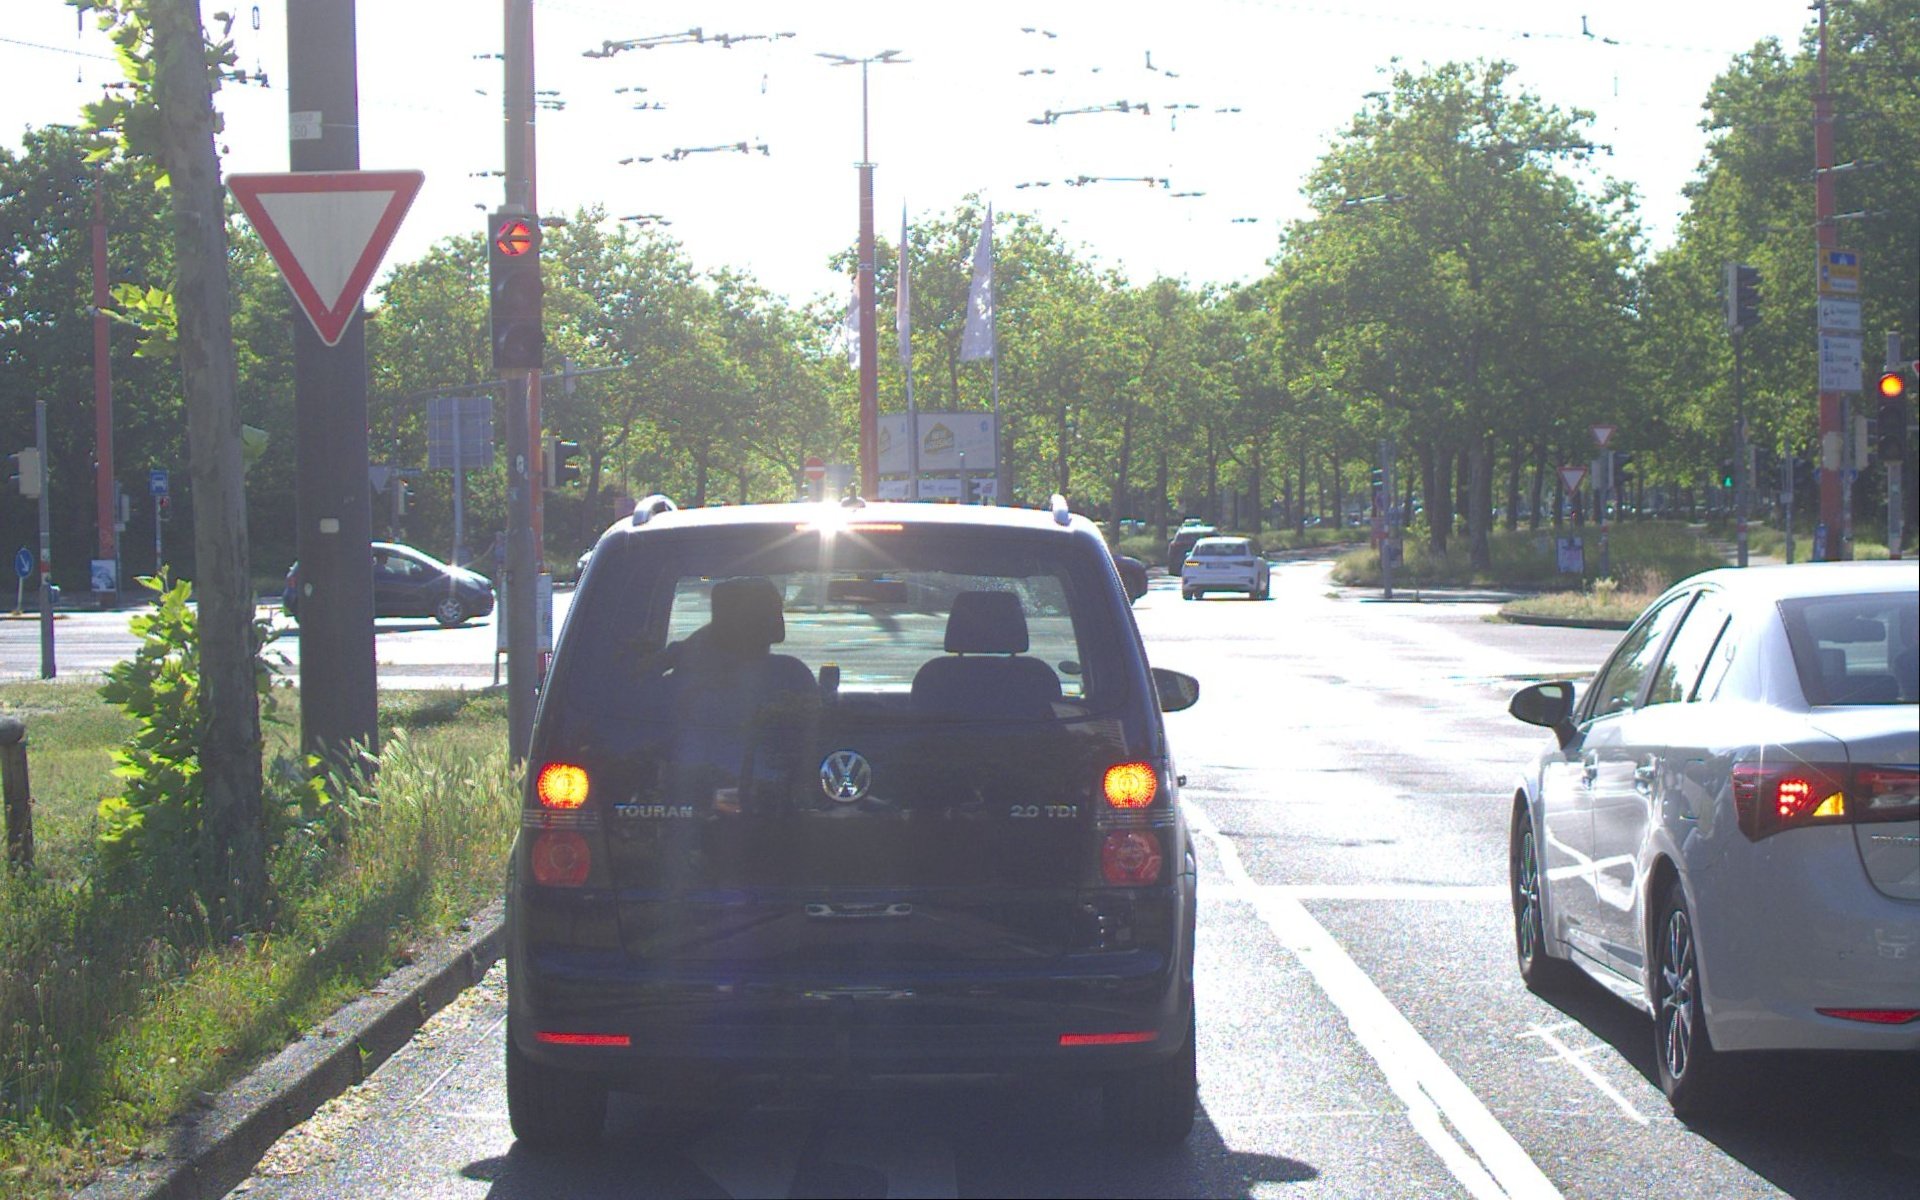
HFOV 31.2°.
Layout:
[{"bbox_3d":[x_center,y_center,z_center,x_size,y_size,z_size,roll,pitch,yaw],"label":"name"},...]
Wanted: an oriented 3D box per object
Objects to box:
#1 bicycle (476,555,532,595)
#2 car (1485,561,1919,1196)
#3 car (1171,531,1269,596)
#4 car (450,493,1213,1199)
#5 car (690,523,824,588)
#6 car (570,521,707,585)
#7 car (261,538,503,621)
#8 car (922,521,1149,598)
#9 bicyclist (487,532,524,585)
[{"bbox_3d":[-12.527,-0.685,94.412,0.735,1.086,1.959,0,1,18],"label":"bicycle"},{"bbox_3d":[2.688,0.627,10.074,1.715,1.449,4.144,0,1,1],"label":"car"},{"bbox_3d":[6.038,-0.863,79.518,1.908,1.459,4.221,0,1,9],"label":"car"},{"bbox_3d":[-0.316,0.543,9.873,1.737,1.635,4.000,0,1,-1],"label":"car"},{"bbox_3d":[-5.371,-1.198,91.683,1.995,1.679,4.825,0,1,17],"label":"car"},{"bbox_3d":[-8.694,-1.295,93.351,1.995,1.679,4.825,0,1,17],"label":"car"},{"bbox_3d":[-10.369,-0.382,61.905,4.042,1.459,1.914,0,1,0],"label":"car"},{"bbox_3d":[1.501,-0.814,67.293,4.362,1.459,1.913,-1,1,-43],"label":"car"},{"bbox_3d":[-12.496,-1.153,94.624,0.693,1.452,0.874,0,1,18],"label":"bicyclist"}]
